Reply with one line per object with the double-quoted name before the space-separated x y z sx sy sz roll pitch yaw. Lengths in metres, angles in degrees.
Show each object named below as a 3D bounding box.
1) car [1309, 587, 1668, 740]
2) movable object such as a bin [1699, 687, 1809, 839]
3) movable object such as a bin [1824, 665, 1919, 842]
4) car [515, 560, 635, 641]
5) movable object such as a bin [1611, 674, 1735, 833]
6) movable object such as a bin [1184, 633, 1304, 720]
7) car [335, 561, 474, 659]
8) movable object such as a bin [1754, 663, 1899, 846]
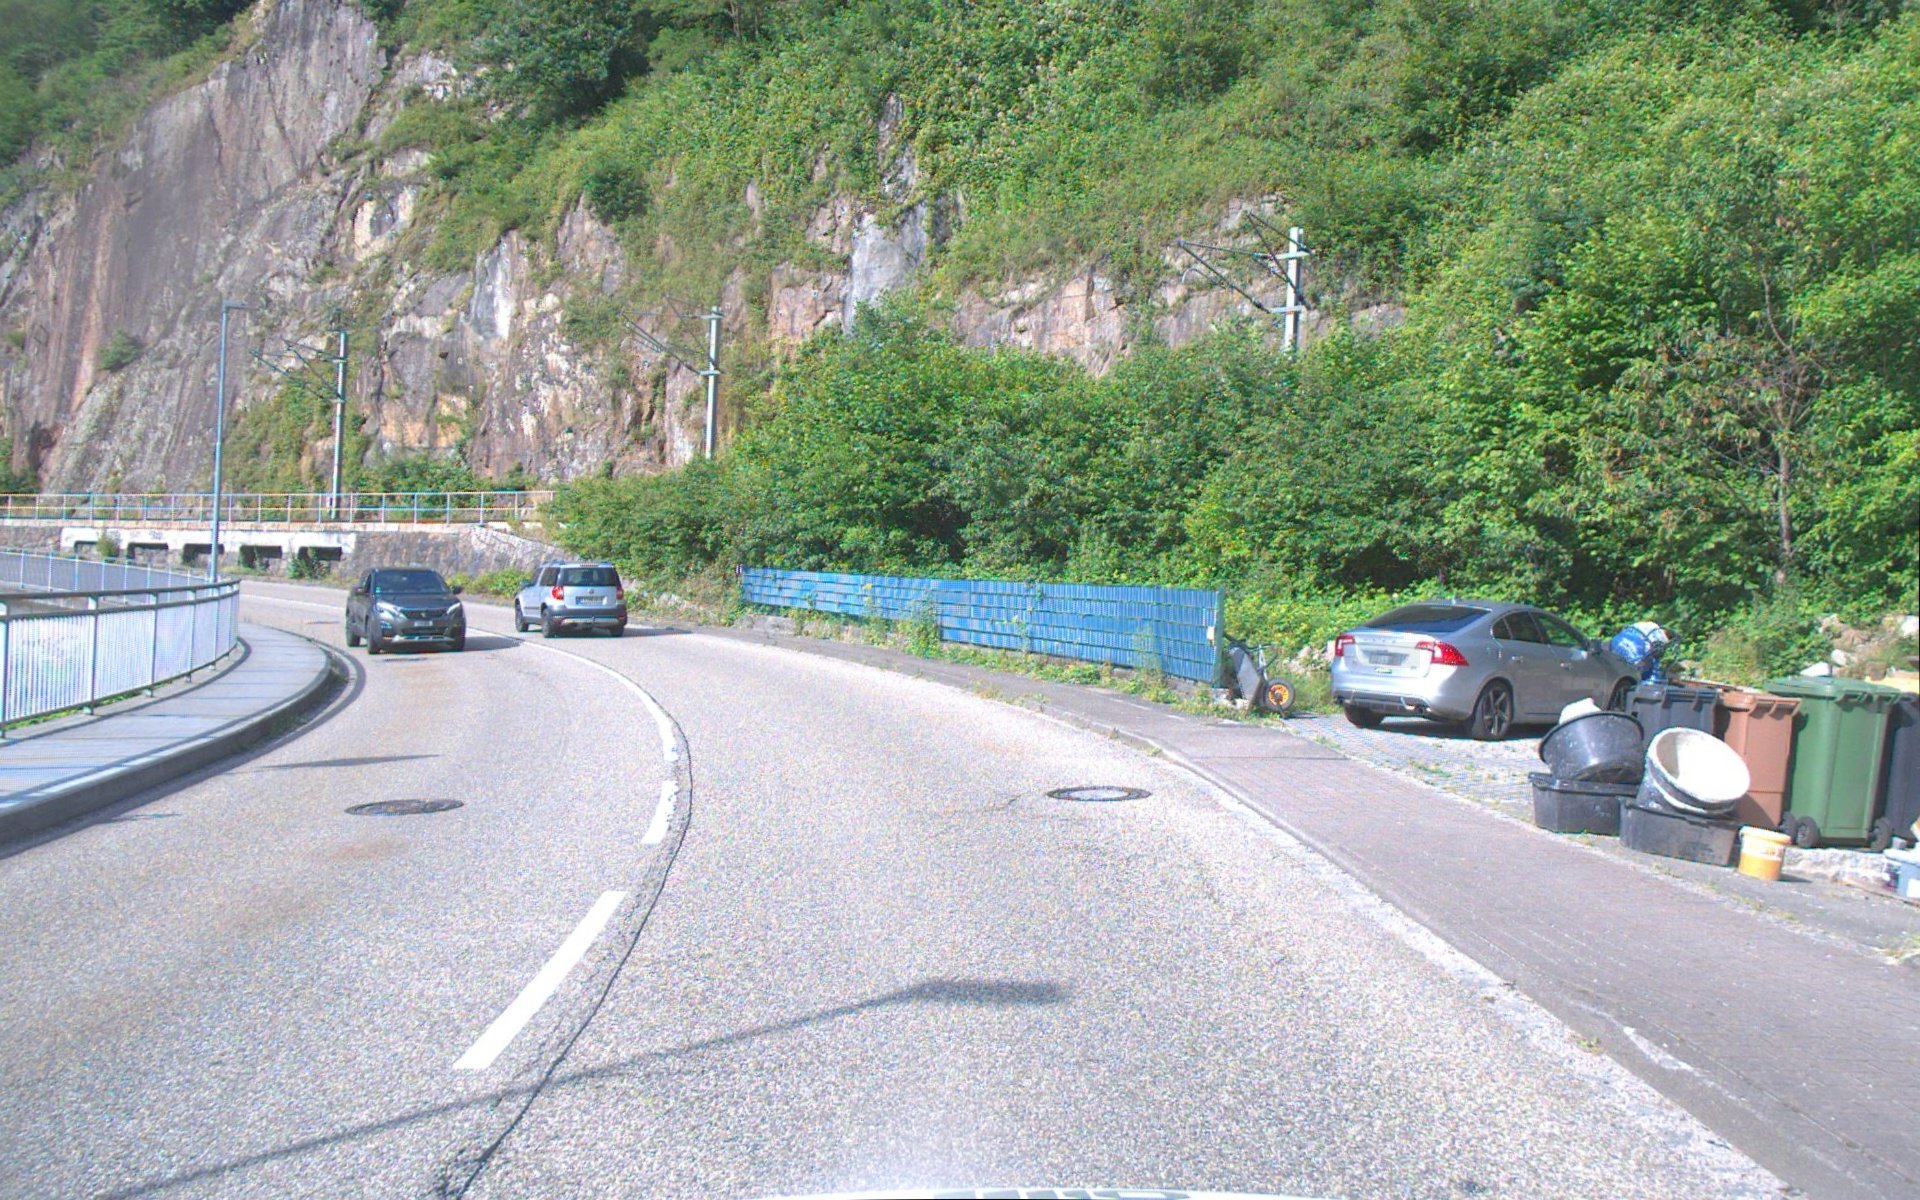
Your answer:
"car" 6.028 0.658 18.638 4.288 1.495 1.811 -1 -1 -40
"movable object such as a bin" 5.141 1.044 10.728 0.361 0.915 0.546 3 0 -10
"movable object such as a bin" 6.149 0.996 10.877 0.468 1.081 0.752 3 0 -3
"car" -8.710 -0.032 37.239 1.849 1.684 3.969 0 2 -25
"movable object such as a bin" 4.655 0.989 10.822 0.462 0.953 0.652 3 0 -3
"movable object such as a bin" 3.361 0.883 19.845 0.838 0.862 2.537 3 0 -3
"car" -11.117 0.138 32.953 1.797 1.671 3.959 -3 4 -31
"movable object such as a bin" 5.591 0.980 10.700 0.468 1.081 0.752 3 0 -3
